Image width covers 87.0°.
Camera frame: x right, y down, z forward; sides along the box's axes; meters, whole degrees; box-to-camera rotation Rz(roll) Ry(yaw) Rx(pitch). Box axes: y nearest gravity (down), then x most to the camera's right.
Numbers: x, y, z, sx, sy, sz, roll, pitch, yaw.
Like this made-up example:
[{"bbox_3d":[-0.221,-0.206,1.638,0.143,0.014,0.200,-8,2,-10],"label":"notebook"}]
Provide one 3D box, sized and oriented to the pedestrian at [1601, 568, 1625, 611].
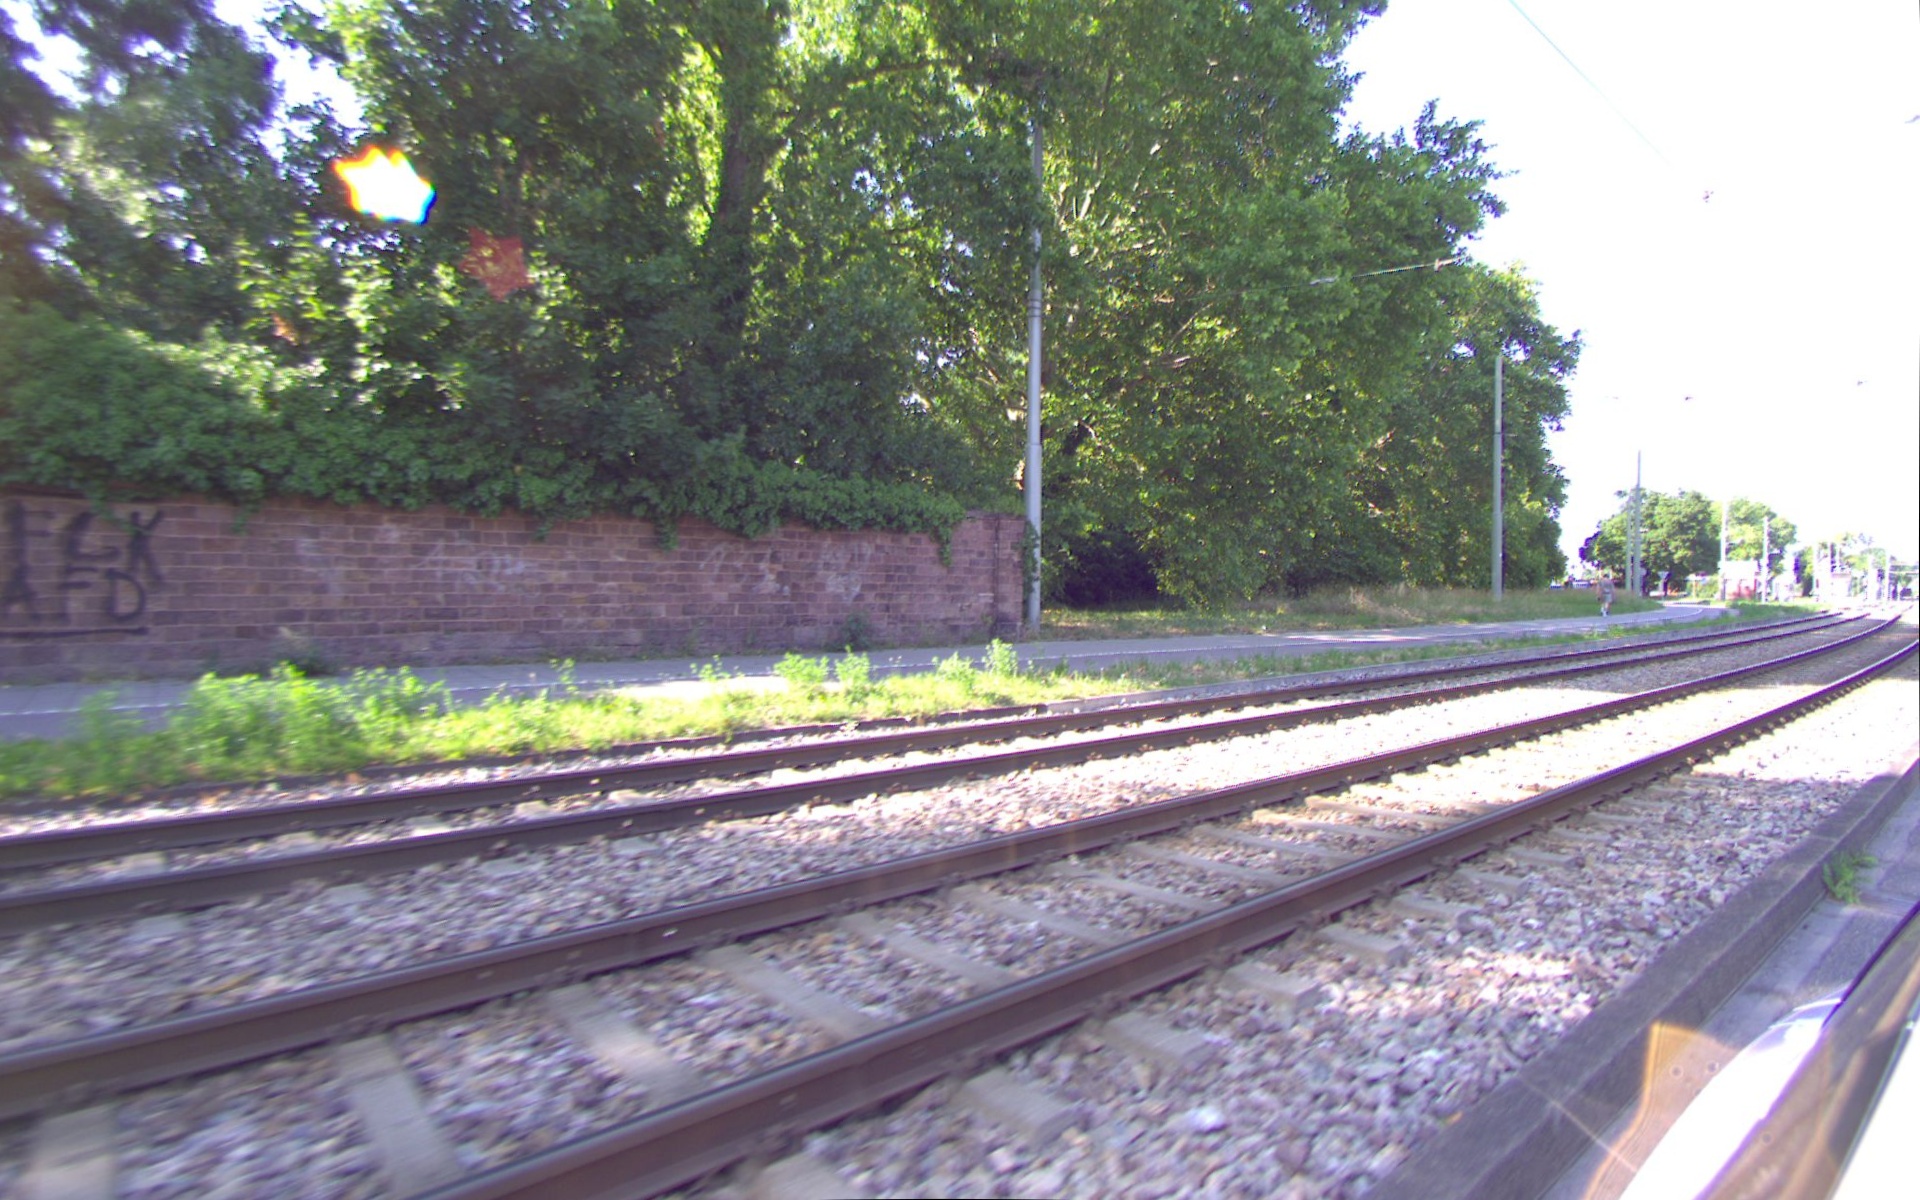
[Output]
[{"bbox_3d":[26.507,-0.433,41.098,0.869,1.737,0.502,0,1,-37],"label":"pedestrian"}]
